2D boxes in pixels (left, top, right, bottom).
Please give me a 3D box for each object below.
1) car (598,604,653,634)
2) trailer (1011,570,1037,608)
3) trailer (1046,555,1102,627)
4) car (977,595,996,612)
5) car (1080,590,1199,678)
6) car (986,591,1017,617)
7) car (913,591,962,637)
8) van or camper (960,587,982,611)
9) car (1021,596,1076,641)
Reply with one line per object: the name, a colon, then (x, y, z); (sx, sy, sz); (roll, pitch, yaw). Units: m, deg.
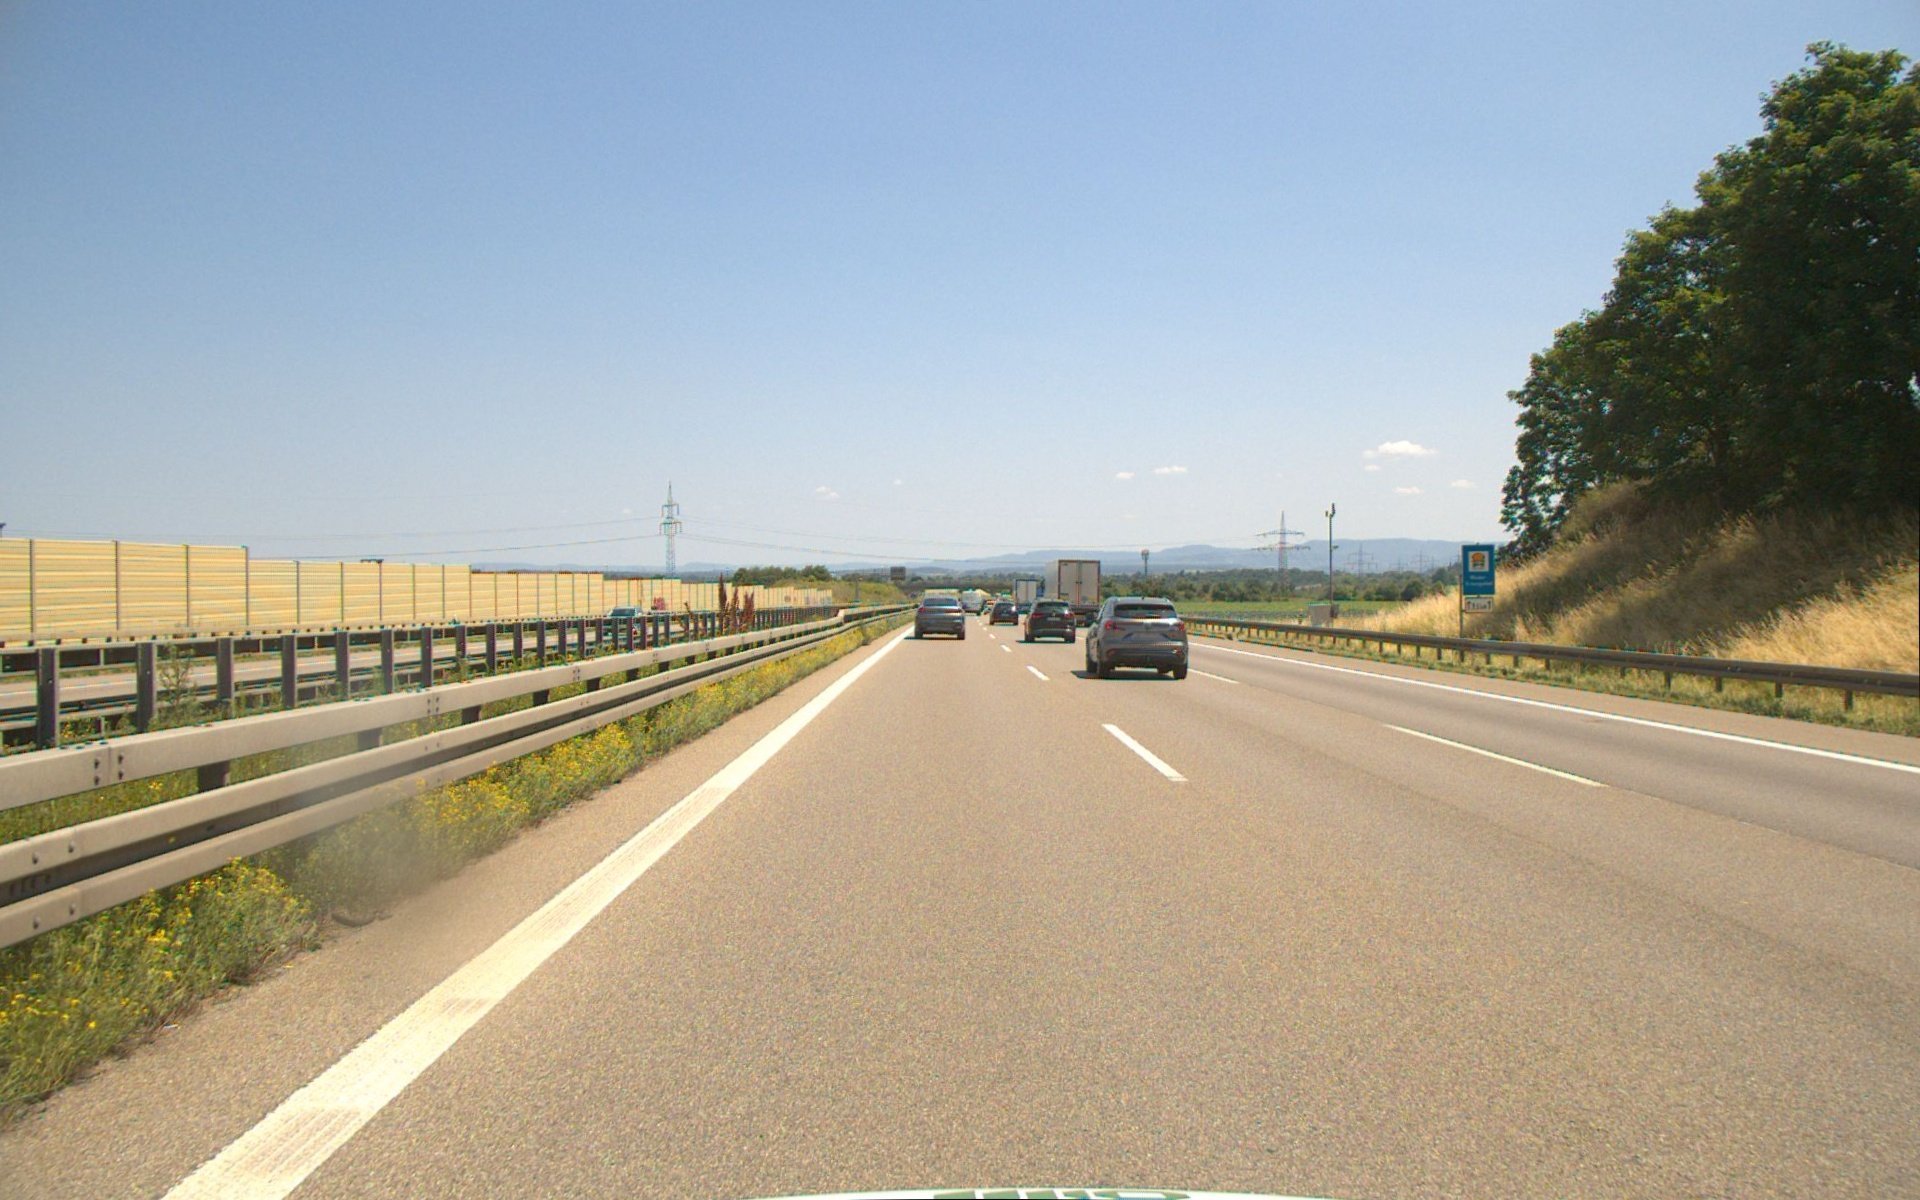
car: (-17.634, 0.990, 87.409); (1.953, 1.489, 4.813); (-1, 0, -1)
trailer: (7.585, -1.234, 198.482); (2.882, 4.271, 13.598); (1, 0, 2)
trailer: (7.194, -0.495, 106.198); (2.809, 4.294, 13.295); (1, 0, 1)
car: (2.825, 0.351, 176.438); (1.952, 1.712, 4.001); (1, 0, 1)
car: (3.635, 0.668, 34.249); (1.814, 1.677, 4.643); (1, 0, -1)
car: (2.644, 0.257, 105.484); (1.893, 1.602, 4.935); (1, 0, 1)
car: (-0.904, 0.541, 64.274); (1.814, 1.693, 3.734); (1, 0, -1)
van or camper: (1.128, -0.081, 165.147); (2.067, 2.250, 5.266); (1, 0, 1)
car: (3.311, 0.682, 62.400); (1.760, 1.589, 3.822); (1, 0, -1)
